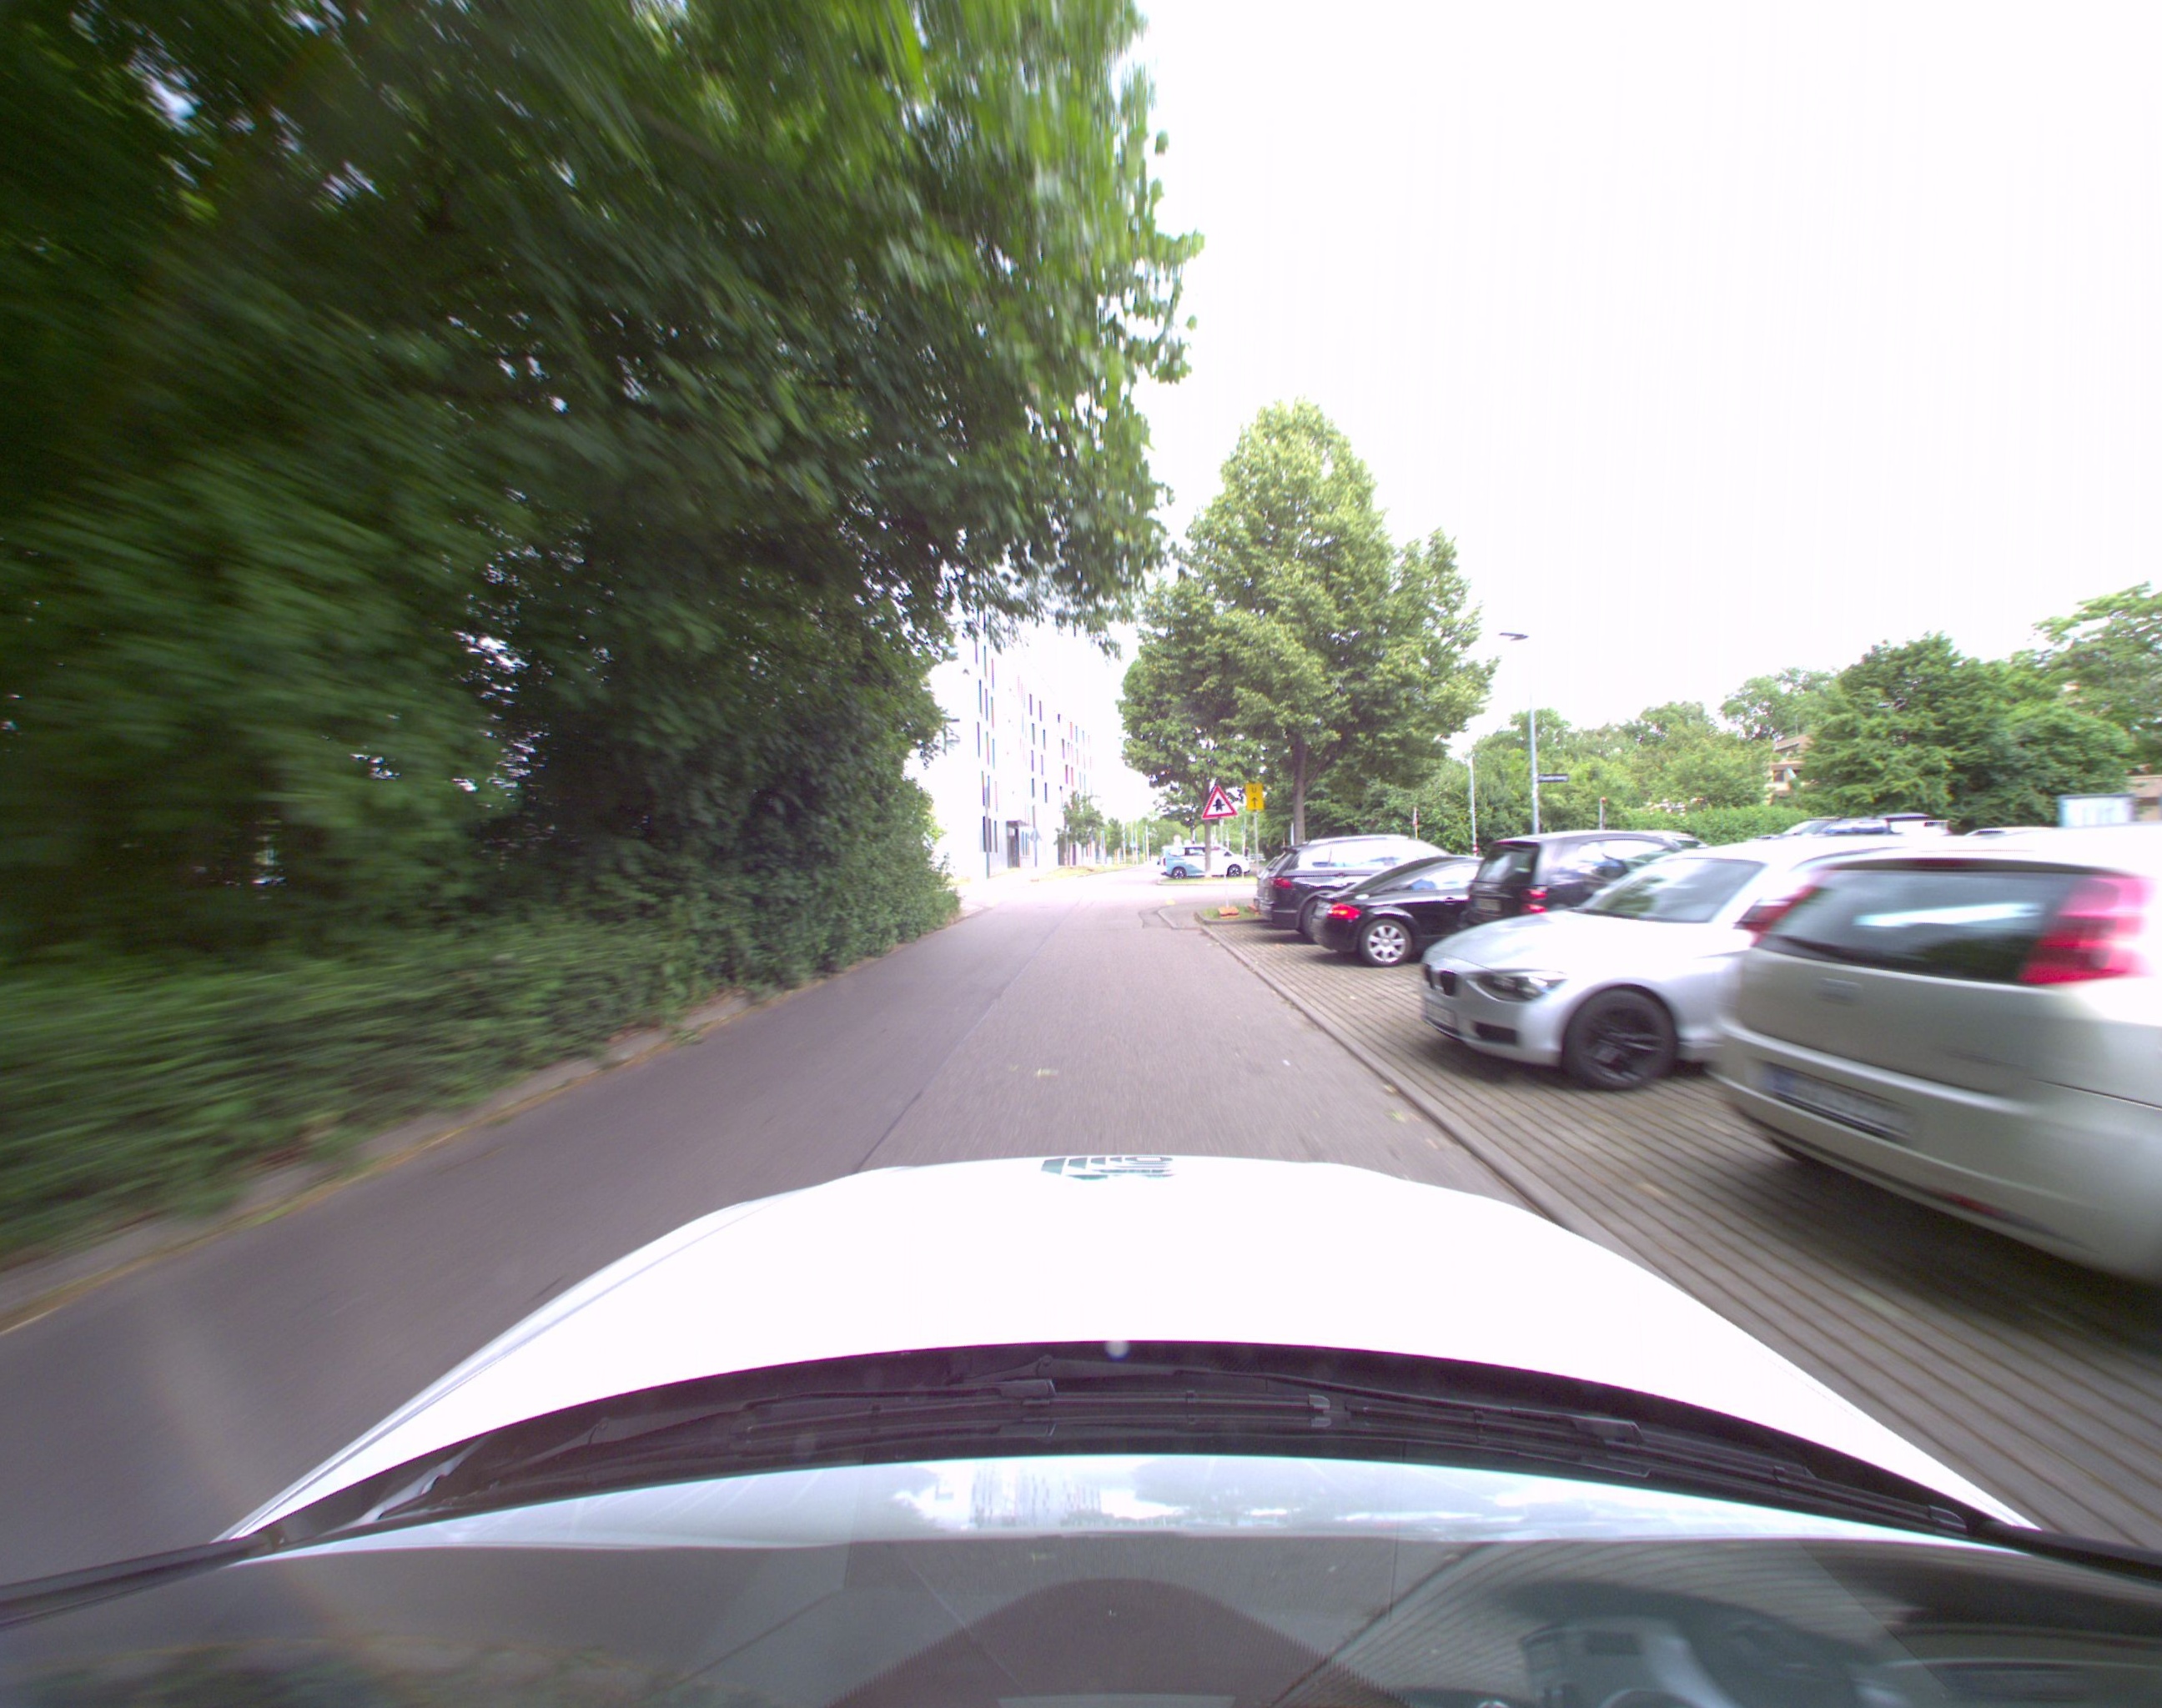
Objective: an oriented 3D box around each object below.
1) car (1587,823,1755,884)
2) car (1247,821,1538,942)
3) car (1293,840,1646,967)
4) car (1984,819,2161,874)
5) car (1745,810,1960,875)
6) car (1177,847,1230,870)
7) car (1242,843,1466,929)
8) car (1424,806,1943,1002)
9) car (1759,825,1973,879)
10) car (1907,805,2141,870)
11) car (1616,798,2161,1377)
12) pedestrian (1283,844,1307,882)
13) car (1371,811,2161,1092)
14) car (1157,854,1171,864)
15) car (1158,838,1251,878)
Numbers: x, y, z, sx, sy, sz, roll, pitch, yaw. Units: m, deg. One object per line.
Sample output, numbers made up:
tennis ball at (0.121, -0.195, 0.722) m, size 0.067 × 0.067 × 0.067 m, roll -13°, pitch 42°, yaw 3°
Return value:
car at (18.065, 0.007, 25.086) m, size 3.756 × 1.668 × 1.772 m, roll -2°, pitch -1°, yaw 9°
car at (4.975, 0.445, 13.568) m, size 4.103 × 1.650 × 1.983 m, roll -3°, pitch -1°, yaw 5°
car at (4.939, 0.627, 10.851) m, size 3.813 × 1.358 × 1.825 m, roll -3°, pitch -1°, yaw 5°
car at (29.194, -0.235, 23.286) m, size 4.402 × 1.428 × 1.707 m, roll -2°, pitch -1°, yaw 9°
car at (27.408, -0.375, 29.120) m, size 5.288 × 2.057 × 2.143 m, roll -2°, pitch 0°, yaw 8°
car at (10.416, 0.397, 69.521) m, size 4.355 × 1.904 × 1.940 m, roll -1°, pitch 0°, yaw 7°
car at (5.264, 0.612, 16.128) m, size 3.815 × 1.403 × 1.854 m, roll -3°, pitch -1°, yaw 3°
car at (5.784, 0.463, 8.231) m, size 3.818 × 1.558 × 1.820 m, roll -3°, pitch -1°, yaw 1°
car at (23.101, -0.042, 24.123) m, size 4.368 × 1.428 × 1.707 m, roll -2°, pitch -1°, yaw 8°
car at (33.177, -0.557, 28.835) m, size 5.288 × 2.057 × 2.143 m, roll -2°, pitch 0°, yaw 8°
car at (4.605, 0.531, 3.013) m, size 3.971 × 1.528 × 1.812 m, roll -3°, pitch -1°, yaw 2°
pedestrian at (9.015, 0.384, 34.335) m, size 0.830 × 1.576 × 0.811 m, roll -2°, pitch -1°, yaw 8°
car at (4.382, 0.584, 5.726) m, size 3.972 × 1.430 × 1.936 m, roll -3°, pitch -1°, yaw 1°
car at (11.637, 0.687, 113.696) m, size 1.599 × 1.388 × 4.011 m, roll -1°, pitch 0°, yaw 10°
car at (6.956, 0.223, 46.295) m, size 4.952 × 1.972 × 1.848 m, roll -3°, pitch 0°, yaw 3°
